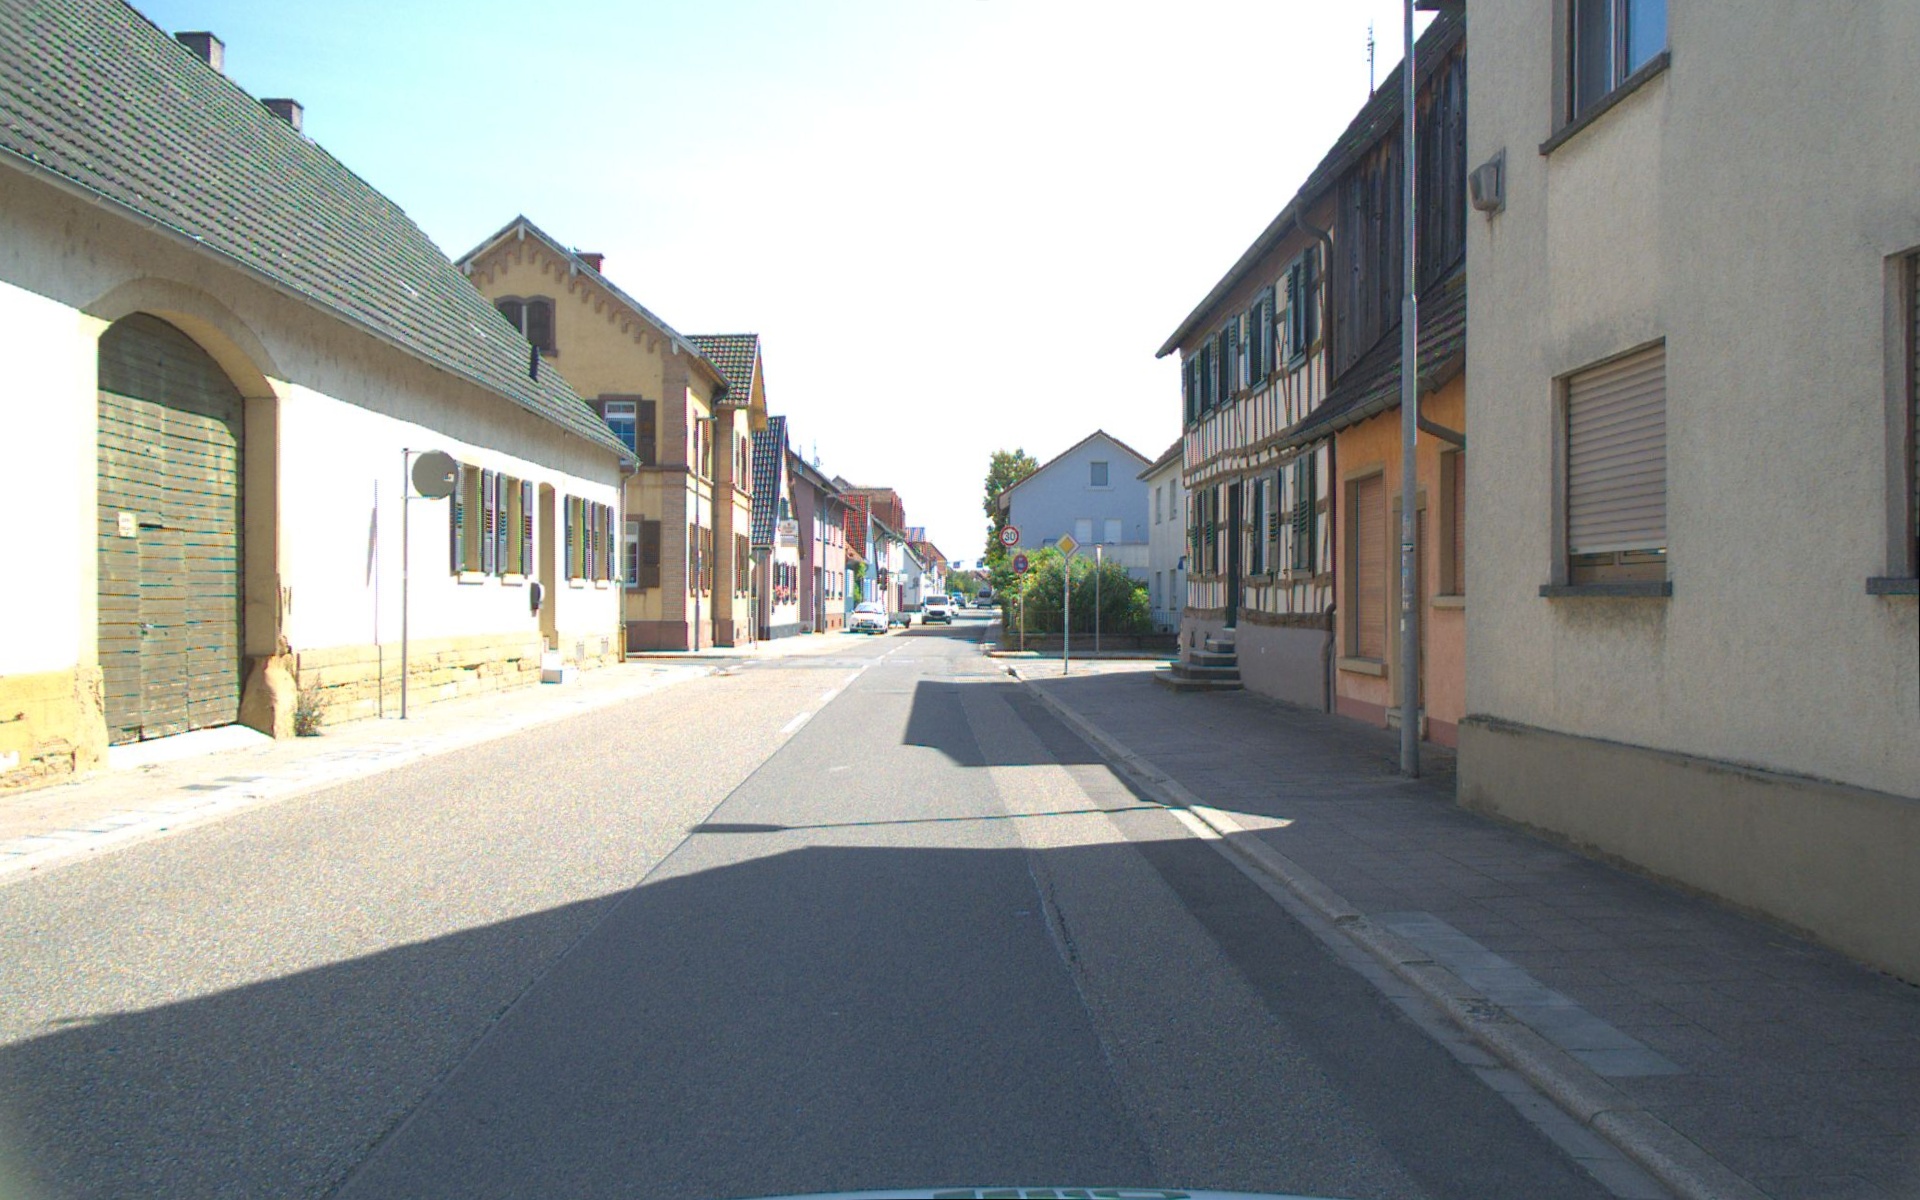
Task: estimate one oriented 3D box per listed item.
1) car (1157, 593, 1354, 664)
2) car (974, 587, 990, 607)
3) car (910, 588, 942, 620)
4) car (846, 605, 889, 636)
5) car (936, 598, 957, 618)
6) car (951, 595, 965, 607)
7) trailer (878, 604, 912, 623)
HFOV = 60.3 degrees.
[{"bbox_3d":[6.480,0.613,36.569,3.909,1.467,1.998,-1,0,-5],"label":"car"},{"bbox_3d":[2.974,-0.363,220.119,1.976,2.612,3.999,0,0,-1],"label":"car"},{"bbox_3d":[-2.322,0.287,112.659,2.114,2.116,3.998,0,-2,-2],"label":"car"},{"bbox_3d":[-4.617,1.019,83.250,1.953,1.467,3.999,0,0,-1],"label":"car"},{"bbox_3d":[-1.242,0.756,154.887,1.953,1.780,4.000,1,0,0],"label":"car"},{"bbox_3d":[-0.339,0.094,223.034,1.829,1.571,3.837,-1,0,-1],"label":"car"},{"bbox_3d":[-3.919,0.815,99.981,1.953,1.109,3.999,-1,0,-2],"label":"trailer"}]
